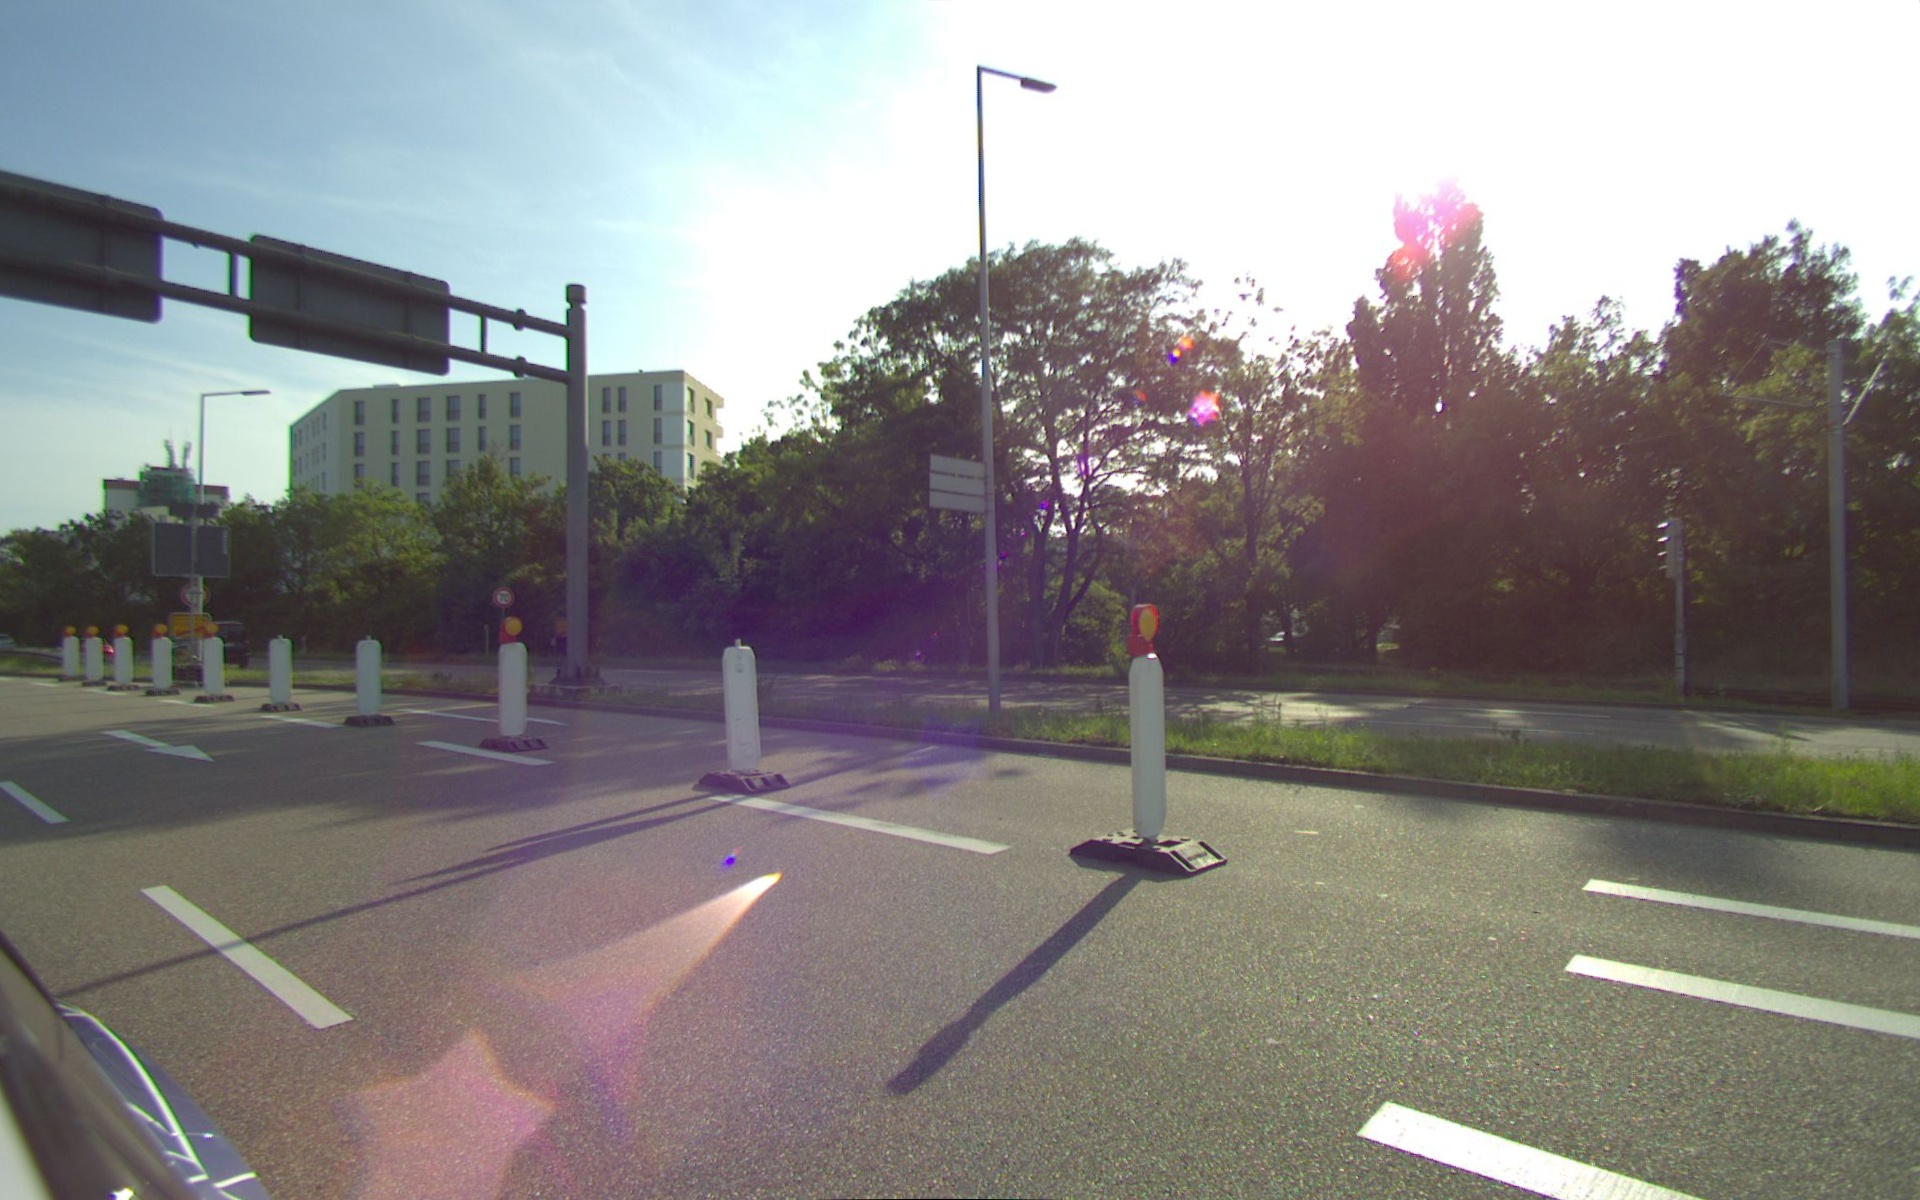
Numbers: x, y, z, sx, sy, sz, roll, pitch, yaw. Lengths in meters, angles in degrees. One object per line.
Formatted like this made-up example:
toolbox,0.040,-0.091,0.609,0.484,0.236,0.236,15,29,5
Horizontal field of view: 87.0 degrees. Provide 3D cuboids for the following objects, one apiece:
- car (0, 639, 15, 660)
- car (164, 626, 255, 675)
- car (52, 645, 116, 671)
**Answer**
car,-66.722,3.445,69.771,4.057,1.386,1.624,-2,-1,37
car,-29.630,1.965,39.925,4.116,1.820,1.769,-2,-2,37
car,-41.398,2.724,47.813,3.665,1.166,1.498,-2,-1,36
